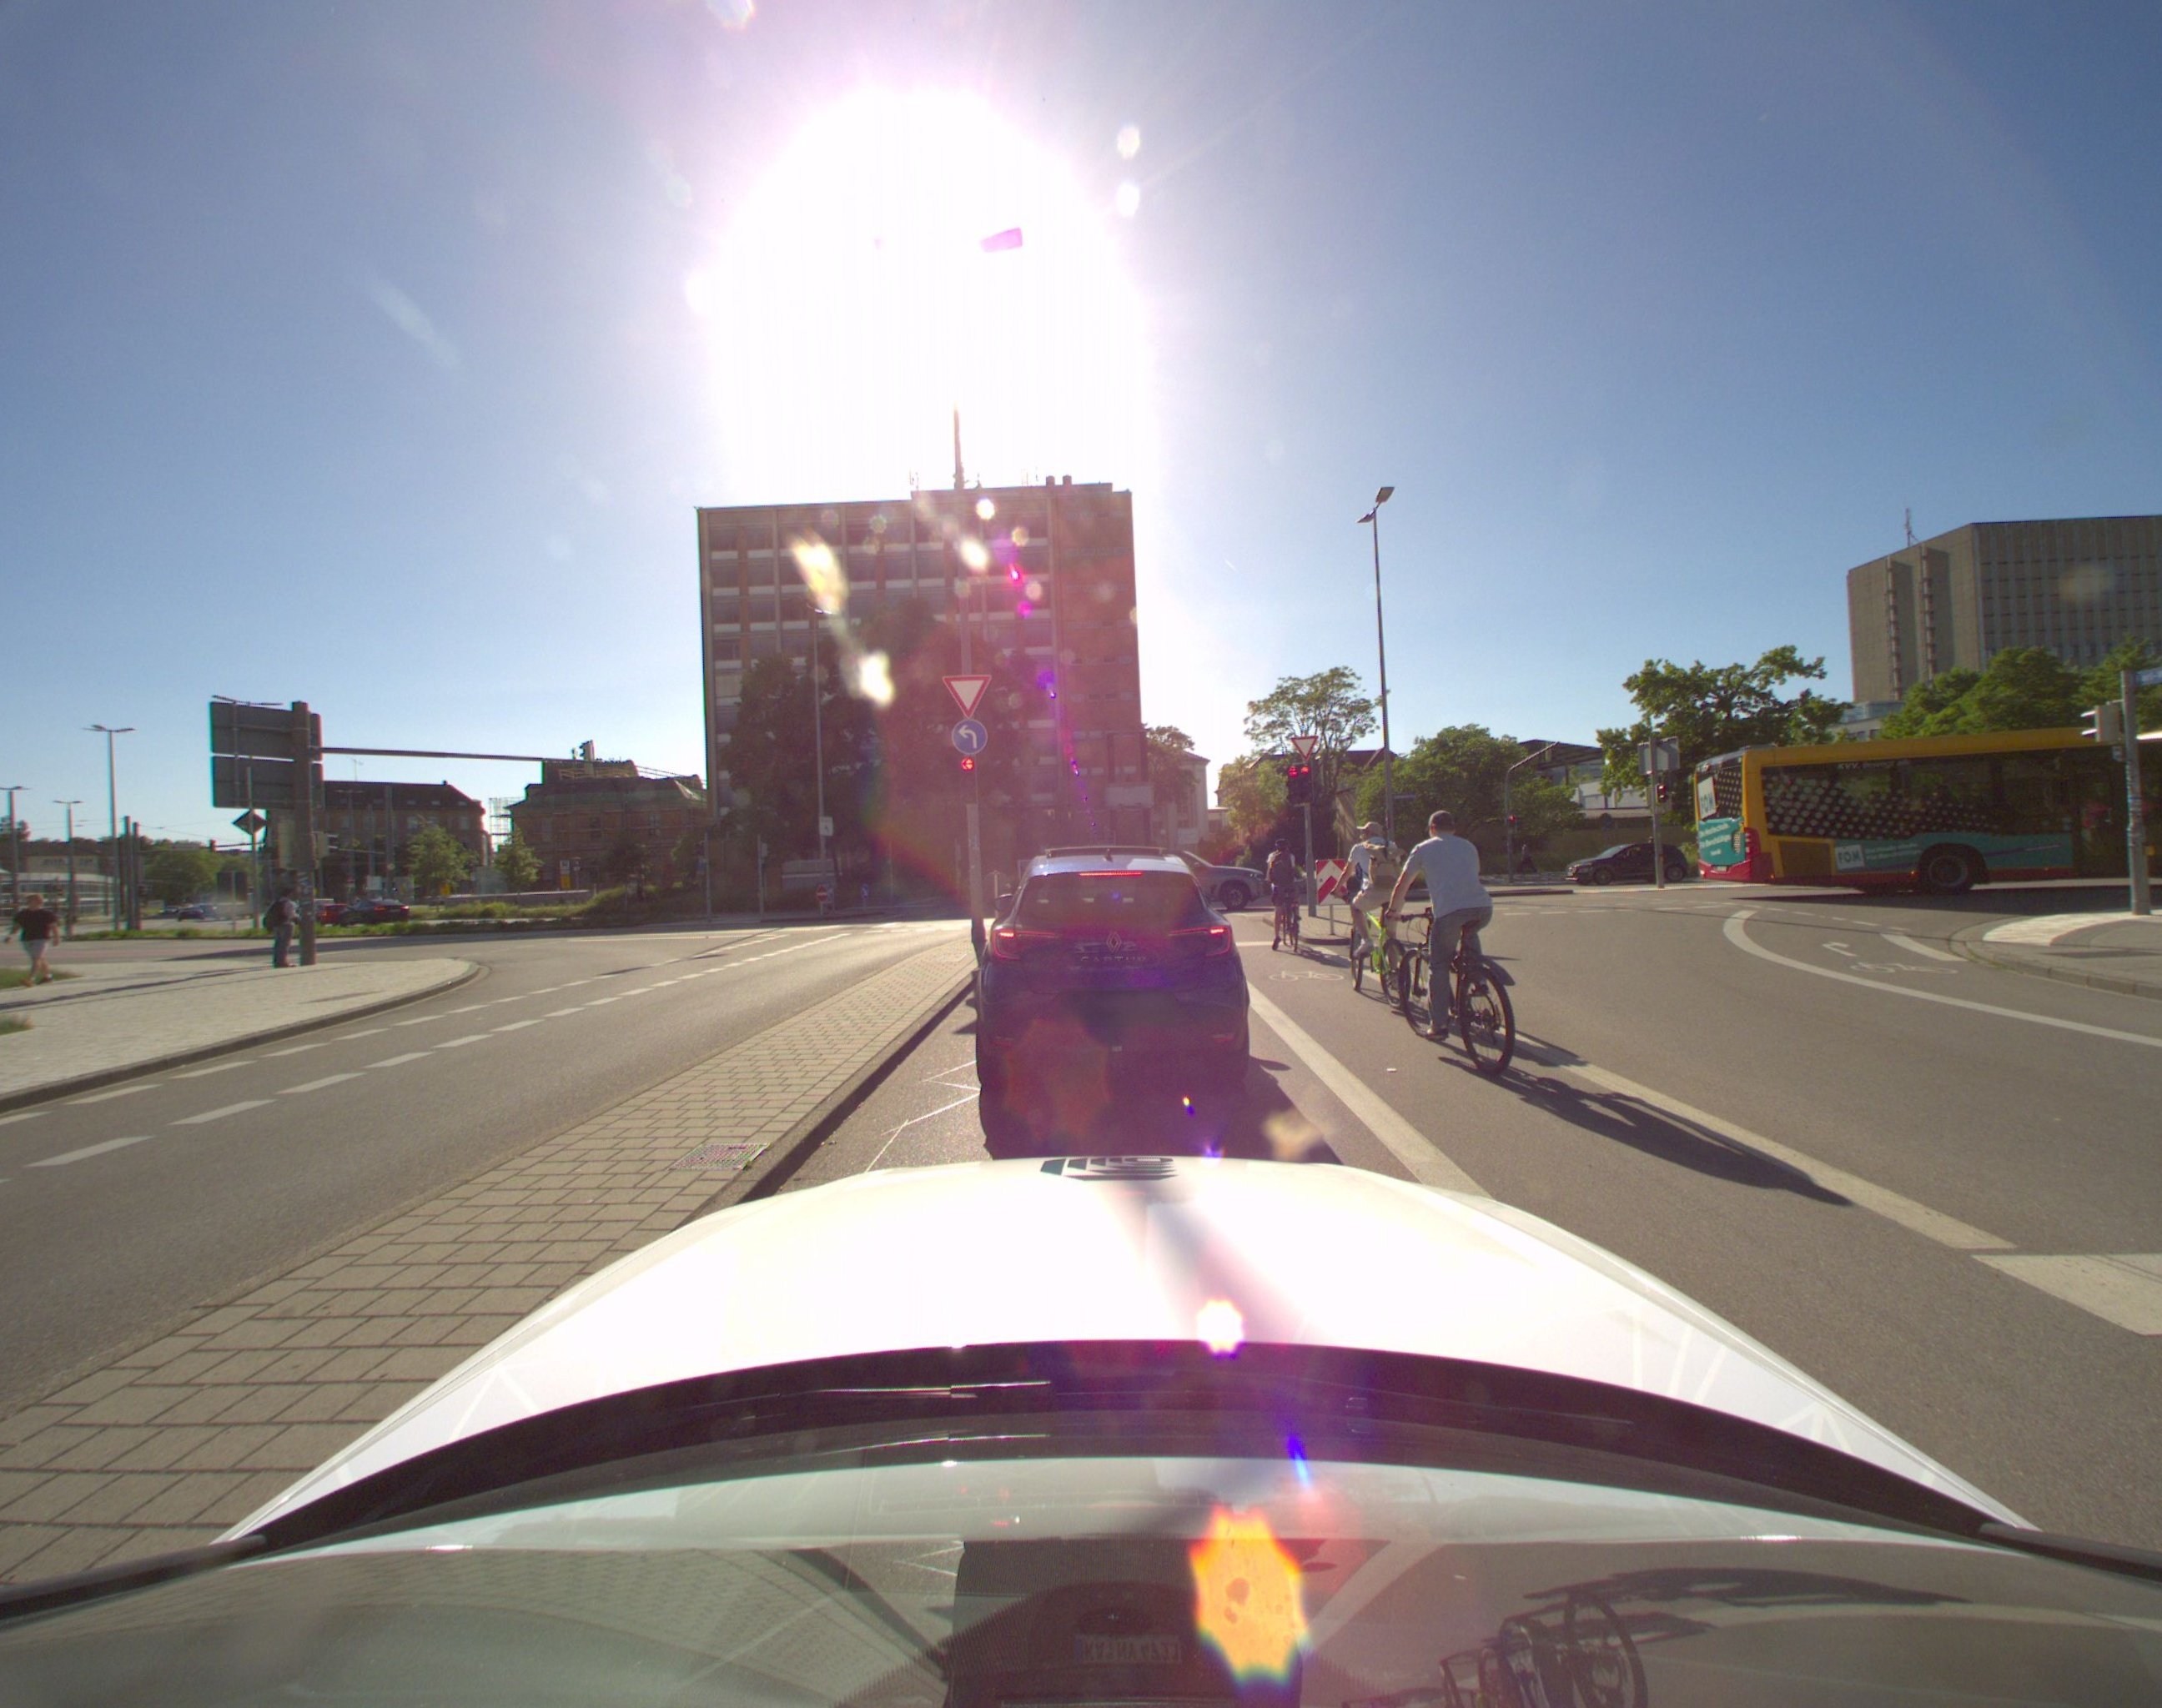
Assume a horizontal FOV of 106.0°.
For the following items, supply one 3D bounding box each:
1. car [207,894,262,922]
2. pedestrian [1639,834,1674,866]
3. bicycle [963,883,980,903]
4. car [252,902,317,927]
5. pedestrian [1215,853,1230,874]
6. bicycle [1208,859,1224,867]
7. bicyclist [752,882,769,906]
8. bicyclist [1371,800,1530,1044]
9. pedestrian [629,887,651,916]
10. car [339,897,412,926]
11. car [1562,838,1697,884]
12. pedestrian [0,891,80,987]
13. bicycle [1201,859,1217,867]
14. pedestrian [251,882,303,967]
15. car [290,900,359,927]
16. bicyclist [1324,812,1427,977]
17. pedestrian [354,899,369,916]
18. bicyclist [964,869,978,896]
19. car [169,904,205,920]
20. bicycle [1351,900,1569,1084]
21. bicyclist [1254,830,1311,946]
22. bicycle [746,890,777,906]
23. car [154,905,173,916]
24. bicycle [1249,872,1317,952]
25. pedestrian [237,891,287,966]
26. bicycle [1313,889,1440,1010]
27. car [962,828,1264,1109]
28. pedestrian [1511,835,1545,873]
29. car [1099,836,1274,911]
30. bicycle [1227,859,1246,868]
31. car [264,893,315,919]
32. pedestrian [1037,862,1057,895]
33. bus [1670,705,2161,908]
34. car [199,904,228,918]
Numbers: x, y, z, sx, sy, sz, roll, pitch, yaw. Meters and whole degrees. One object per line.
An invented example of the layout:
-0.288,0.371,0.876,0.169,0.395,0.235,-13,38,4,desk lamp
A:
-86.300,5.439,82.997,6.867,2.547,3.032,-3,-1,37,car
28.620,-0.214,40.520,1.078,1.521,0.933,-2,-1,11,pedestrian
-5.915,2.111,43.952,0.699,1.007,1.859,-3,-3,-13,bicycle
-53.578,4.080,54.761,3.771,1.518,2.012,-3,-1,27,car
13.582,0.902,78.315,1.152,2.013,1.165,-2,-1,2,pedestrian
15.704,1.058,94.648,1.764,0.898,0.766,-2,-1,2,bicycle
-19.907,2.499,50.595,0.630,1.412,0.653,-3,-1,28,bicyclist
2.745,0.477,6.140,0.737,1.674,0.865,-2,-1,0,bicyclist
-31.612,3.375,58.356,0.816,2.013,1.021,-3,-1,25,pedestrian
-42.386,3.445,48.912,3.771,1.518,2.012,-3,-1,27,car
21.416,0.282,31.966,3.962,1.570,1.841,-3,-1,10,car
-21.236,1.708,16.586,0.856,1.845,0.847,-3,-1,25,pedestrian
15.559,1.113,99.018,1.764,0.893,0.766,-2,-1,2,bicycle
-18.219,1.579,18.460,0.673,1.855,0.608,-3,-1,25,pedestrian
-47.959,3.772,51.646,3.771,1.518,2.012,-3,-1,27,car
3.007,0.394,8.413,0.672,1.583,1.081,0,0,1,bicyclist
-90.438,6.763,102.359,1.078,2.013,1.282,-3,-1,44,pedestrian
-5.939,1.560,43.956,0.648,1.412,0.635,-2,-3,-14,bicyclist
-95.706,6.204,87.186,4.795,1.582,2.115,-3,0,37,car
2.763,0.943,6.206,0.745,1.050,1.903,-3,0,1,bicycle
3.217,0.533,13.068,0.674,1.785,0.939,-1,-1,0,bicyclist
-19.854,2.733,50.611,1.848,0.958,0.627,-3,-1,26,bicycle
-156.245,9.607,138.690,3.948,1.673,2.013,-3,-1,41,car
3.193,0.876,13.000,0.613,1.138,1.826,-2,0,0,bicycle
-19.239,1.739,19.140,0.627,1.697,0.608,-3,-1,25,pedestrian
3.012,0.930,8.502,0.669,1.050,1.844,0,0,1,bicycle
0.224,0.682,6.800,1.788,1.655,3.853,-1,0,1,car
23.211,-0.001,42.333,1.288,1.855,0.969,-3,-1,13,pedestrian
3.028,0.546,23.270,4.697,1.861,2.011,-3,-1,10,car
15.812,0.949,82.836,1.770,0.823,0.763,-2,-1,-9,bicycle
-65.949,4.314,67.811,4.950,2.013,2.086,-3,-1,35,car
-1.996,1.427,47.739,0.926,1.855,0.809,-3,-1,11,pedestrian
19.857,-0.952,16.552,12.329,3.570,3.263,-2,0,15,bus
-102.498,6.739,96.219,4.005,1.439,2.079,-3,0,40,car
